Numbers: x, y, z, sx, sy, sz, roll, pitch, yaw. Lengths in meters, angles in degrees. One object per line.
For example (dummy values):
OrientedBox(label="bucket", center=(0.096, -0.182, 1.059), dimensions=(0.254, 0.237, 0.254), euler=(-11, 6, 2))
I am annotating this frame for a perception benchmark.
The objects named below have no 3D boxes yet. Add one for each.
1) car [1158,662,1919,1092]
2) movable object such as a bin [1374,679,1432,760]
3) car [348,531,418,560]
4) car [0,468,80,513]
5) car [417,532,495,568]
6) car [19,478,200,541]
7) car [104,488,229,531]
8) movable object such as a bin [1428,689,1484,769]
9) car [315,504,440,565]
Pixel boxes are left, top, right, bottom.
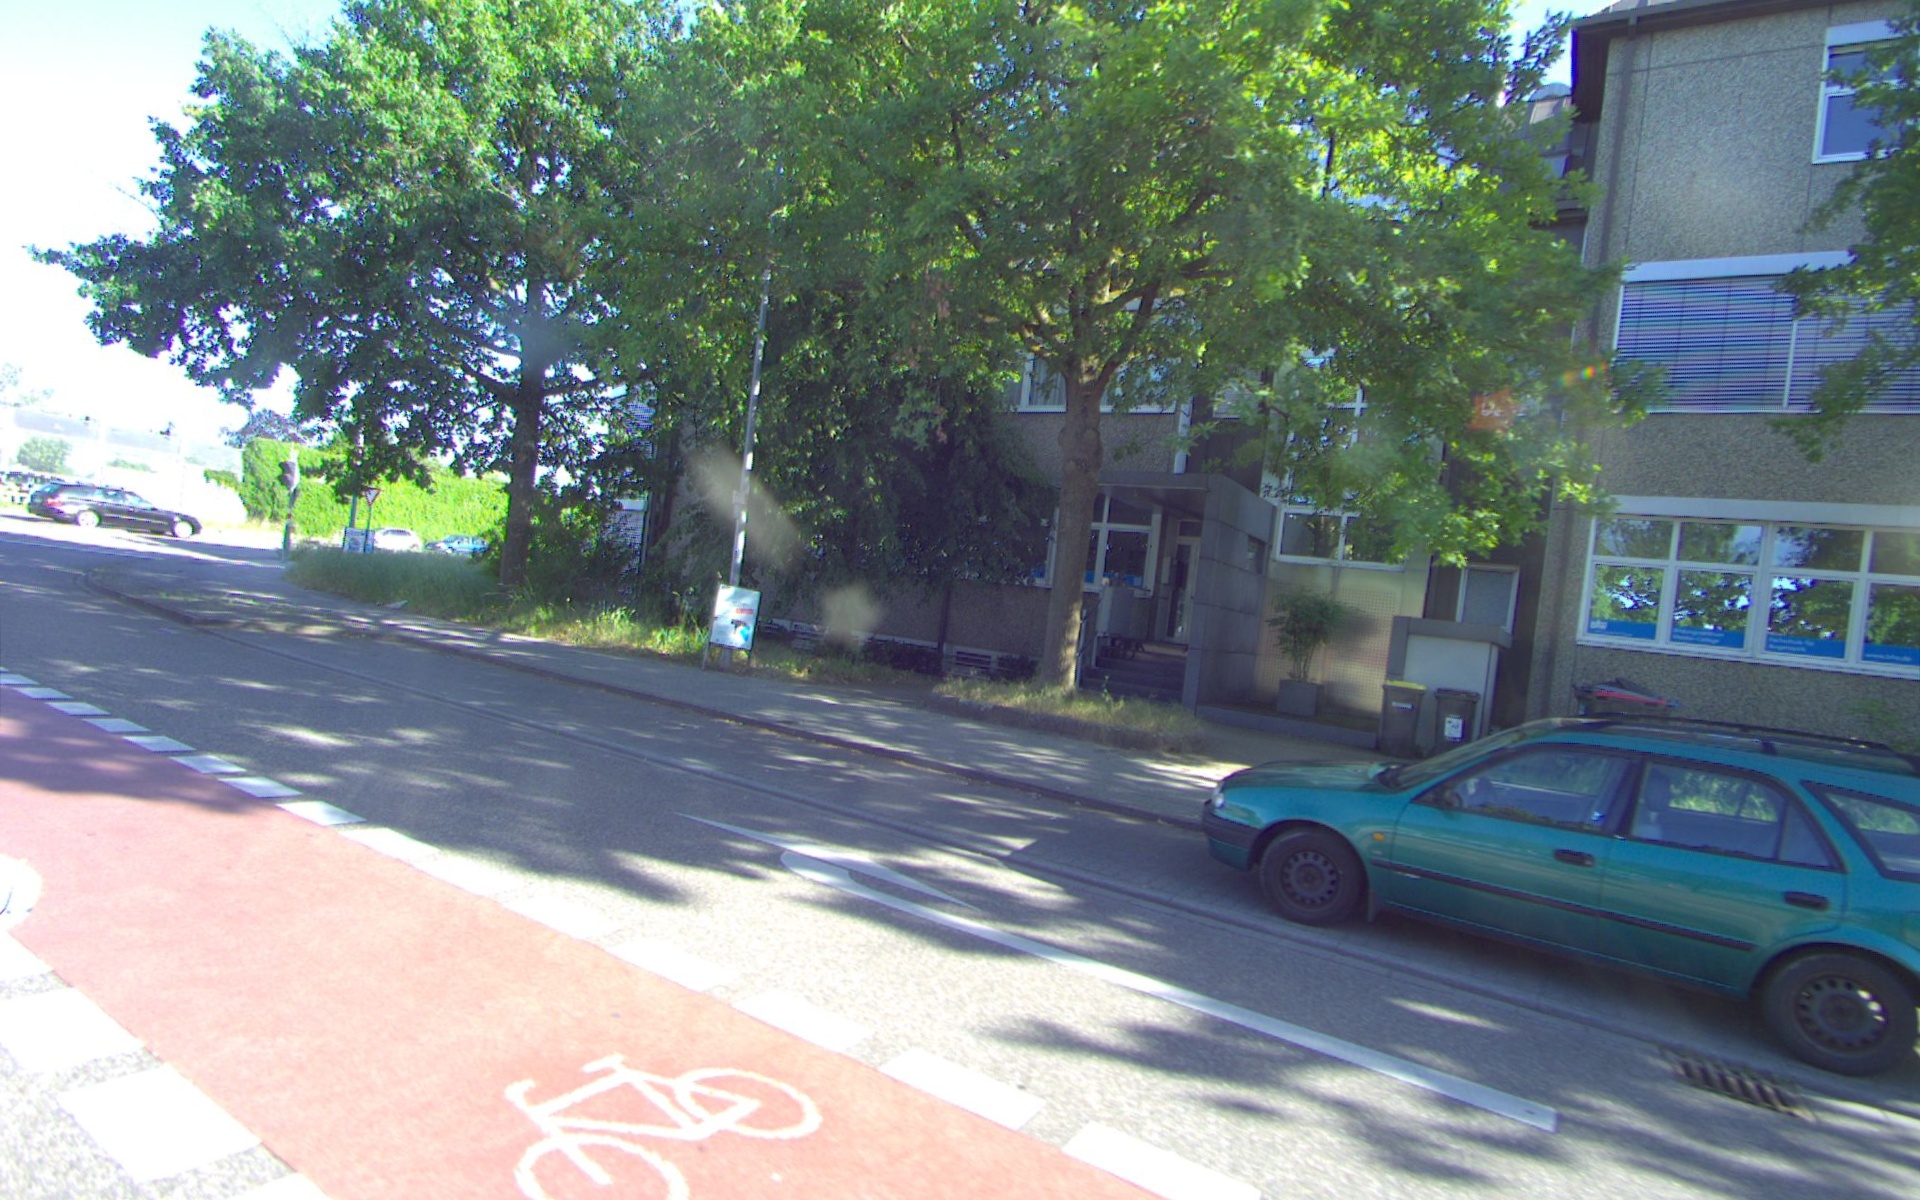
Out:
OrientedBox(label="car", center=(3.473, 1.349, 5.913), dimensions=(4.135, 1.447, 1.593), euler=(7, 1, 33))
OrientedBox(label="movable object such as a bin", center=(6.350, 1.699, 14.414), dimensions=(0.571, 1.045, 0.713), euler=(7, 0, 31))
OrientedBox(label="car", center=(-36.470, -3.449, 63.657), dimensions=(1.330, 1.280, 3.589), euler=(7, -1, 30))
OrientedBox(label="car", center=(-37.525, -4.463, 39.460), dimensions=(1.548, 1.317, 4.170), euler=(6, -2, 28))
OrientedBox(label="car", center=(-30.996, -3.052, 61.981), dimensions=(1.666, 1.570, 3.999), euler=(6, -2, 25))
OrientedBox(label="car", center=(-29.643, -3.112, 35.212), dimensions=(1.653, 1.459, 4.470), euler=(8, 0, 28))
OrientedBox(label="car", center=(-37.325, -4.234, 47.432), dimensions=(1.547, 1.318, 4.298), euler=(7, -1, 28))
OrientedBox(label="movable object such as a bin", center=(6.958, 1.800, 14.097), dimensions=(0.566, 1.019, 0.629), euler=(6, -1, 31))
OrientedBox(label="car", center=(-17.692, -1.955, 30.716), dimensions=(1.433, 1.311, 3.411), euler=(7, -2, 7))
